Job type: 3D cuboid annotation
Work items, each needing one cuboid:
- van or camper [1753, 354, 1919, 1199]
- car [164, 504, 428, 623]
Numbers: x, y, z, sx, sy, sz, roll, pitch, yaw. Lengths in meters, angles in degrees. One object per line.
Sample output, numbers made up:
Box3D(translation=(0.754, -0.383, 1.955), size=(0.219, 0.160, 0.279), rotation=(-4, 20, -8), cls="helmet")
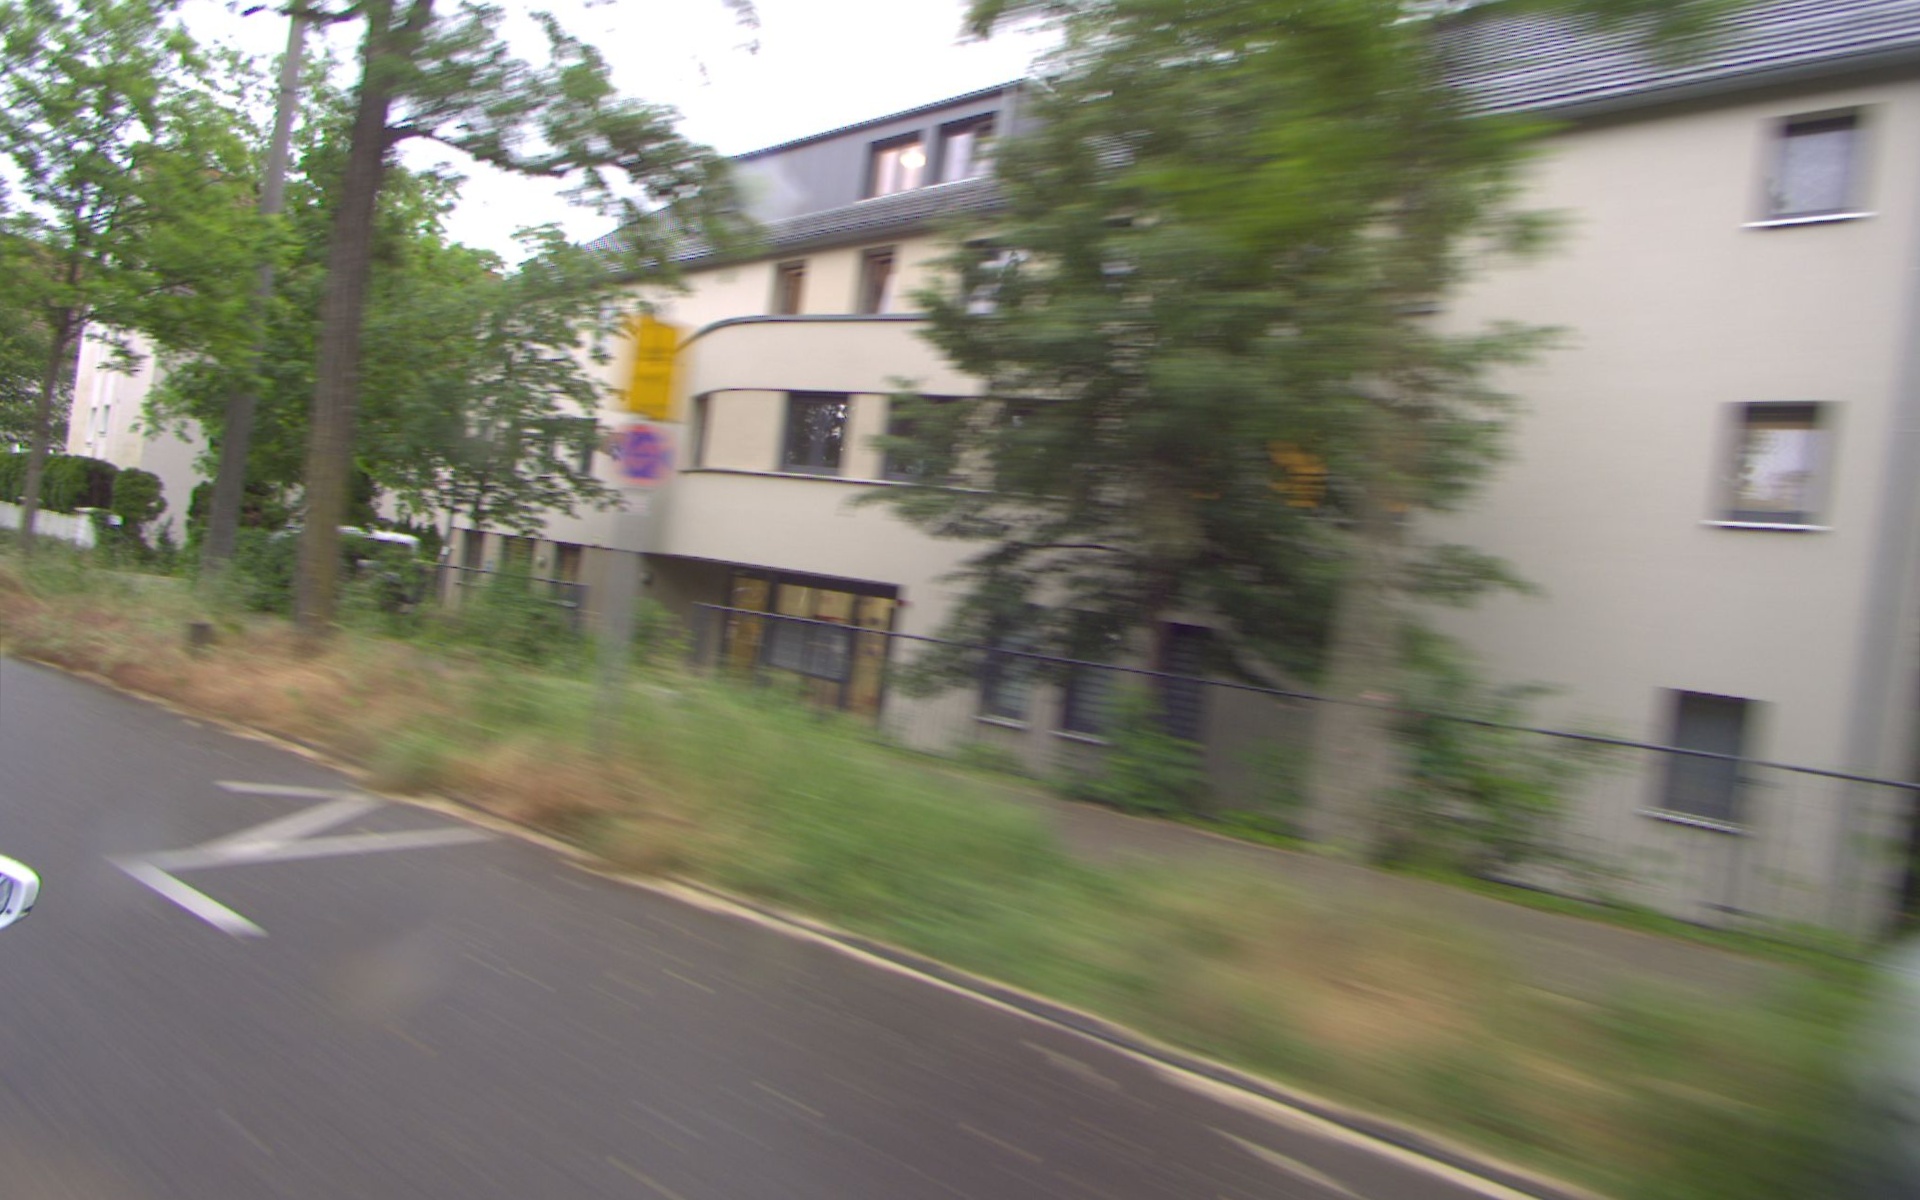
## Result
Box3D(translation=(4.373, 0.885, 0.738), size=(5.544, 2.506, 2.043), rotation=(7, -3, 31), cls="van or camper")
Box3D(translation=(-14.288, -0.743, 21.837), size=(1.849, 1.838, 4.302), rotation=(7, -3, 42), cls="car")
